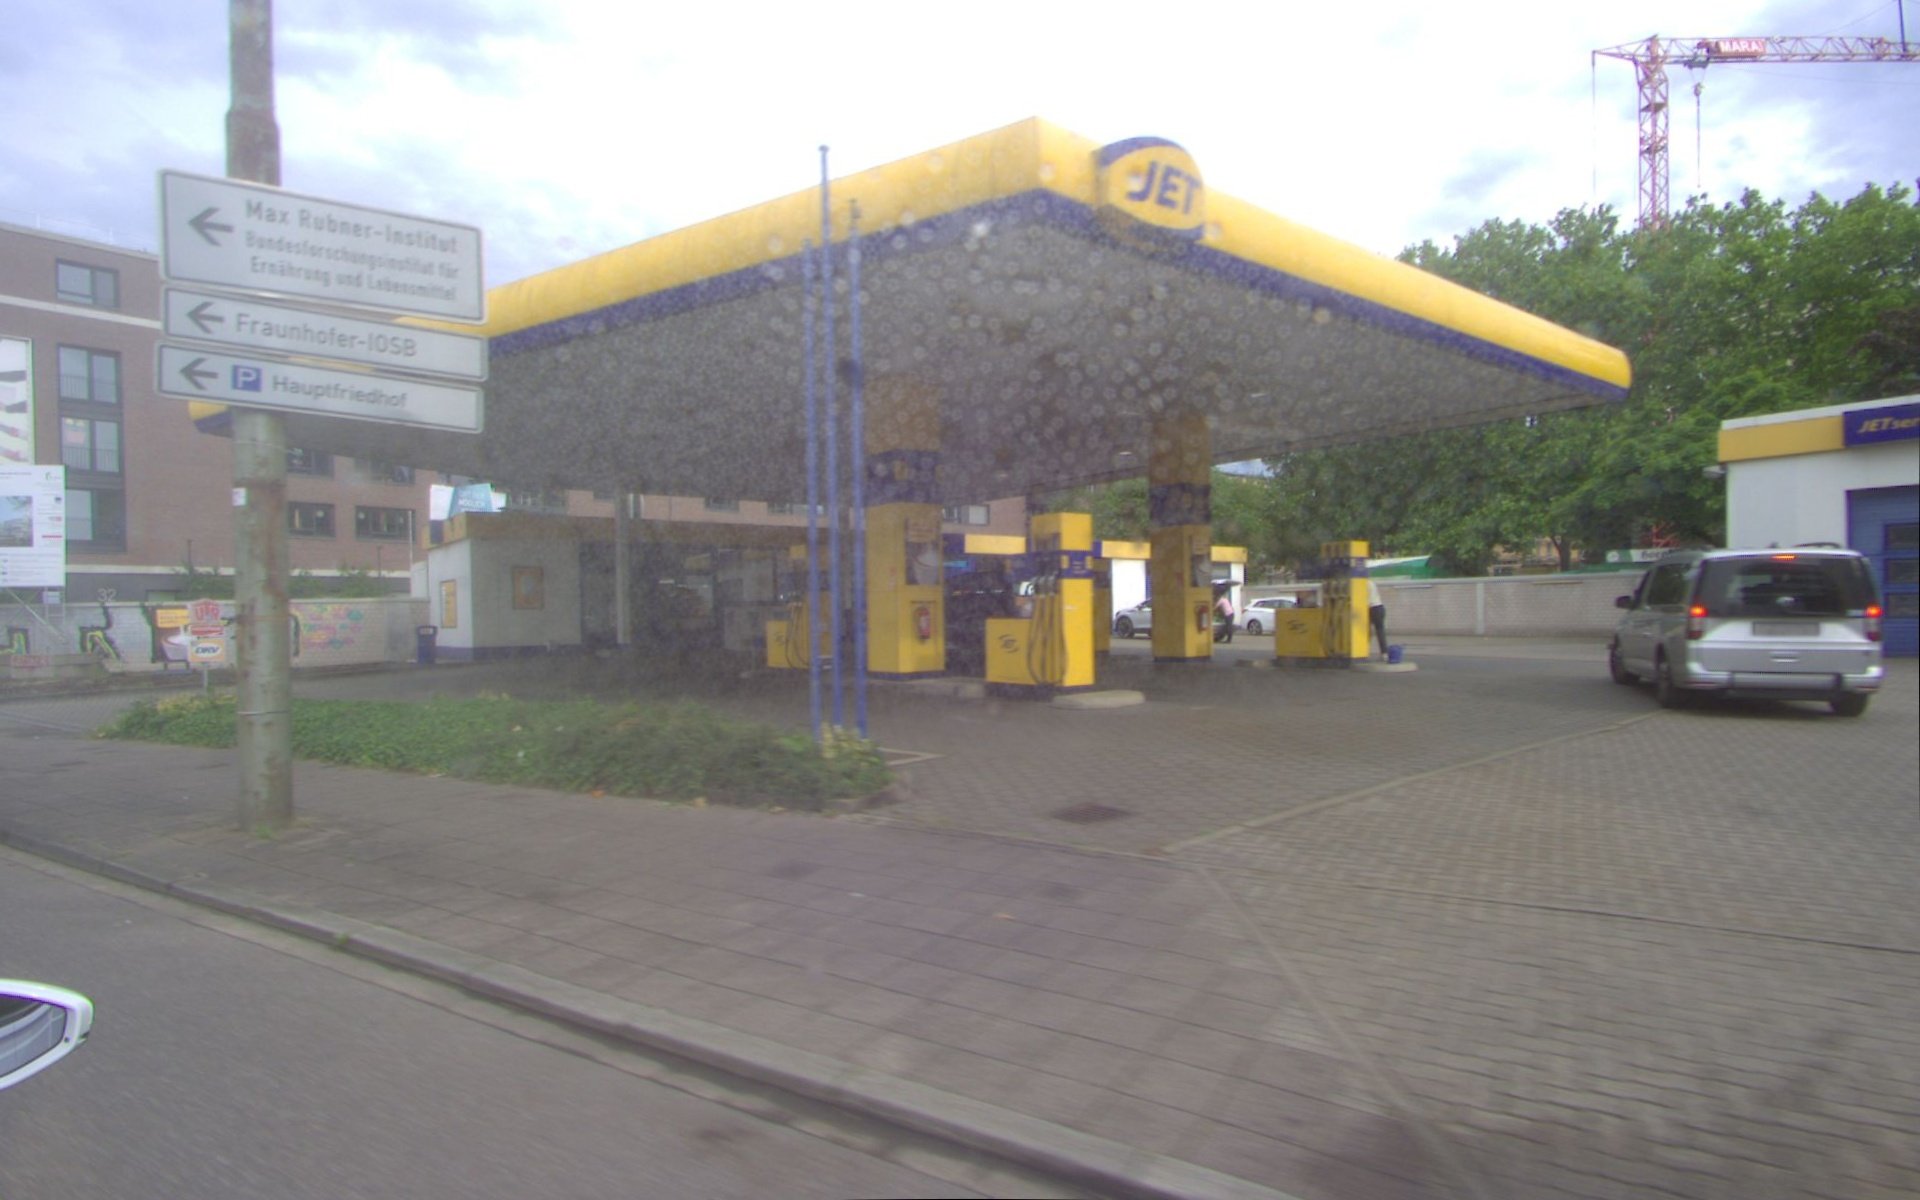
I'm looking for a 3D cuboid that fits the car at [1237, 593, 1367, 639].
[{"bbox_3d":[13.102,0.581,38.595,1.936,1.607,4.390,0,1,-38],"label":"car"}]

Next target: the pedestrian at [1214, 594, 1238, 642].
[{"bbox_3d":[8.777,0.599,33.038,0.492,1.564,0.547,-1,2,-34],"label":"pedestrian"}]

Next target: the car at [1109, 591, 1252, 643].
[{"bbox_3d":[7.558,0.533,34.784,1.919,1.617,4.722,0,1,-39],"label":"car"}]

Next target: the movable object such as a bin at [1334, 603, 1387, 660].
[{"bbox_3d":[7.933,0.608,19.860,0.592,1.080,0.794,0,3,-14],"label":"movable object such as a bin"}]

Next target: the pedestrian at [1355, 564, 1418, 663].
[{"bbox_3d":[8.134,0.237,19.119,0.592,1.845,0.968,0,3,-14],"label":"pedestrian"}]

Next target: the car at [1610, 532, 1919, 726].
[{"bbox_3d":[9.346,0.217,12.083,1.955,1.868,4.509,-1,2,26],"label":"car"}]

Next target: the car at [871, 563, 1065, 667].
[{"bbox_3d":[0.074,0.333,21.465,1.804,2.014,4.219,-2,0,-40],"label":"car"}]
